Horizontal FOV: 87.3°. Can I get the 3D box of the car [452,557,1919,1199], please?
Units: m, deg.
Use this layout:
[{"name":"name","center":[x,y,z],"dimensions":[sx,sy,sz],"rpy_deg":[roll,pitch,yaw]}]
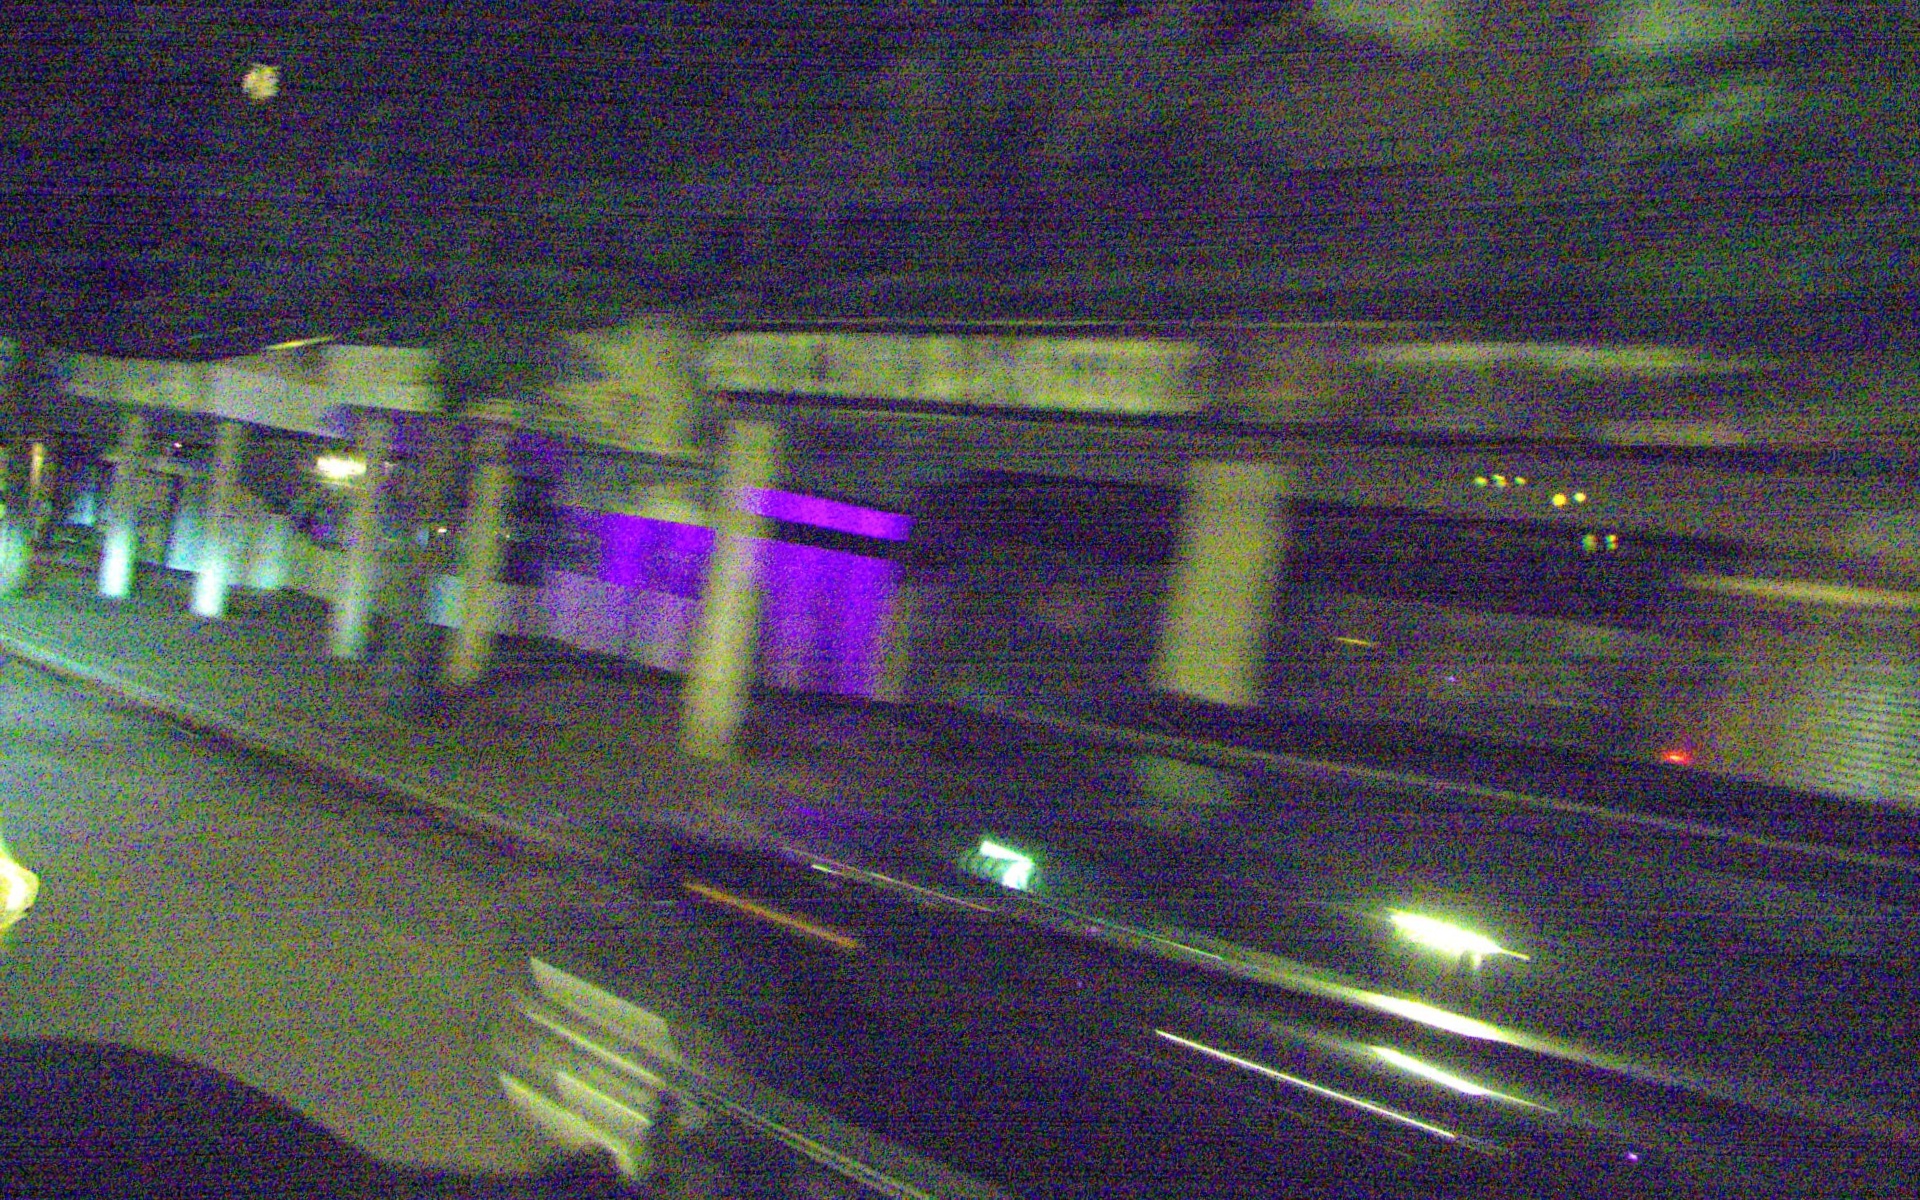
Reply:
[{"name":"car","center":[0.630,0.899,2.521],"dimensions":[3.458,1.490,1.656],"rpy_deg":[8,-1,30]}]
